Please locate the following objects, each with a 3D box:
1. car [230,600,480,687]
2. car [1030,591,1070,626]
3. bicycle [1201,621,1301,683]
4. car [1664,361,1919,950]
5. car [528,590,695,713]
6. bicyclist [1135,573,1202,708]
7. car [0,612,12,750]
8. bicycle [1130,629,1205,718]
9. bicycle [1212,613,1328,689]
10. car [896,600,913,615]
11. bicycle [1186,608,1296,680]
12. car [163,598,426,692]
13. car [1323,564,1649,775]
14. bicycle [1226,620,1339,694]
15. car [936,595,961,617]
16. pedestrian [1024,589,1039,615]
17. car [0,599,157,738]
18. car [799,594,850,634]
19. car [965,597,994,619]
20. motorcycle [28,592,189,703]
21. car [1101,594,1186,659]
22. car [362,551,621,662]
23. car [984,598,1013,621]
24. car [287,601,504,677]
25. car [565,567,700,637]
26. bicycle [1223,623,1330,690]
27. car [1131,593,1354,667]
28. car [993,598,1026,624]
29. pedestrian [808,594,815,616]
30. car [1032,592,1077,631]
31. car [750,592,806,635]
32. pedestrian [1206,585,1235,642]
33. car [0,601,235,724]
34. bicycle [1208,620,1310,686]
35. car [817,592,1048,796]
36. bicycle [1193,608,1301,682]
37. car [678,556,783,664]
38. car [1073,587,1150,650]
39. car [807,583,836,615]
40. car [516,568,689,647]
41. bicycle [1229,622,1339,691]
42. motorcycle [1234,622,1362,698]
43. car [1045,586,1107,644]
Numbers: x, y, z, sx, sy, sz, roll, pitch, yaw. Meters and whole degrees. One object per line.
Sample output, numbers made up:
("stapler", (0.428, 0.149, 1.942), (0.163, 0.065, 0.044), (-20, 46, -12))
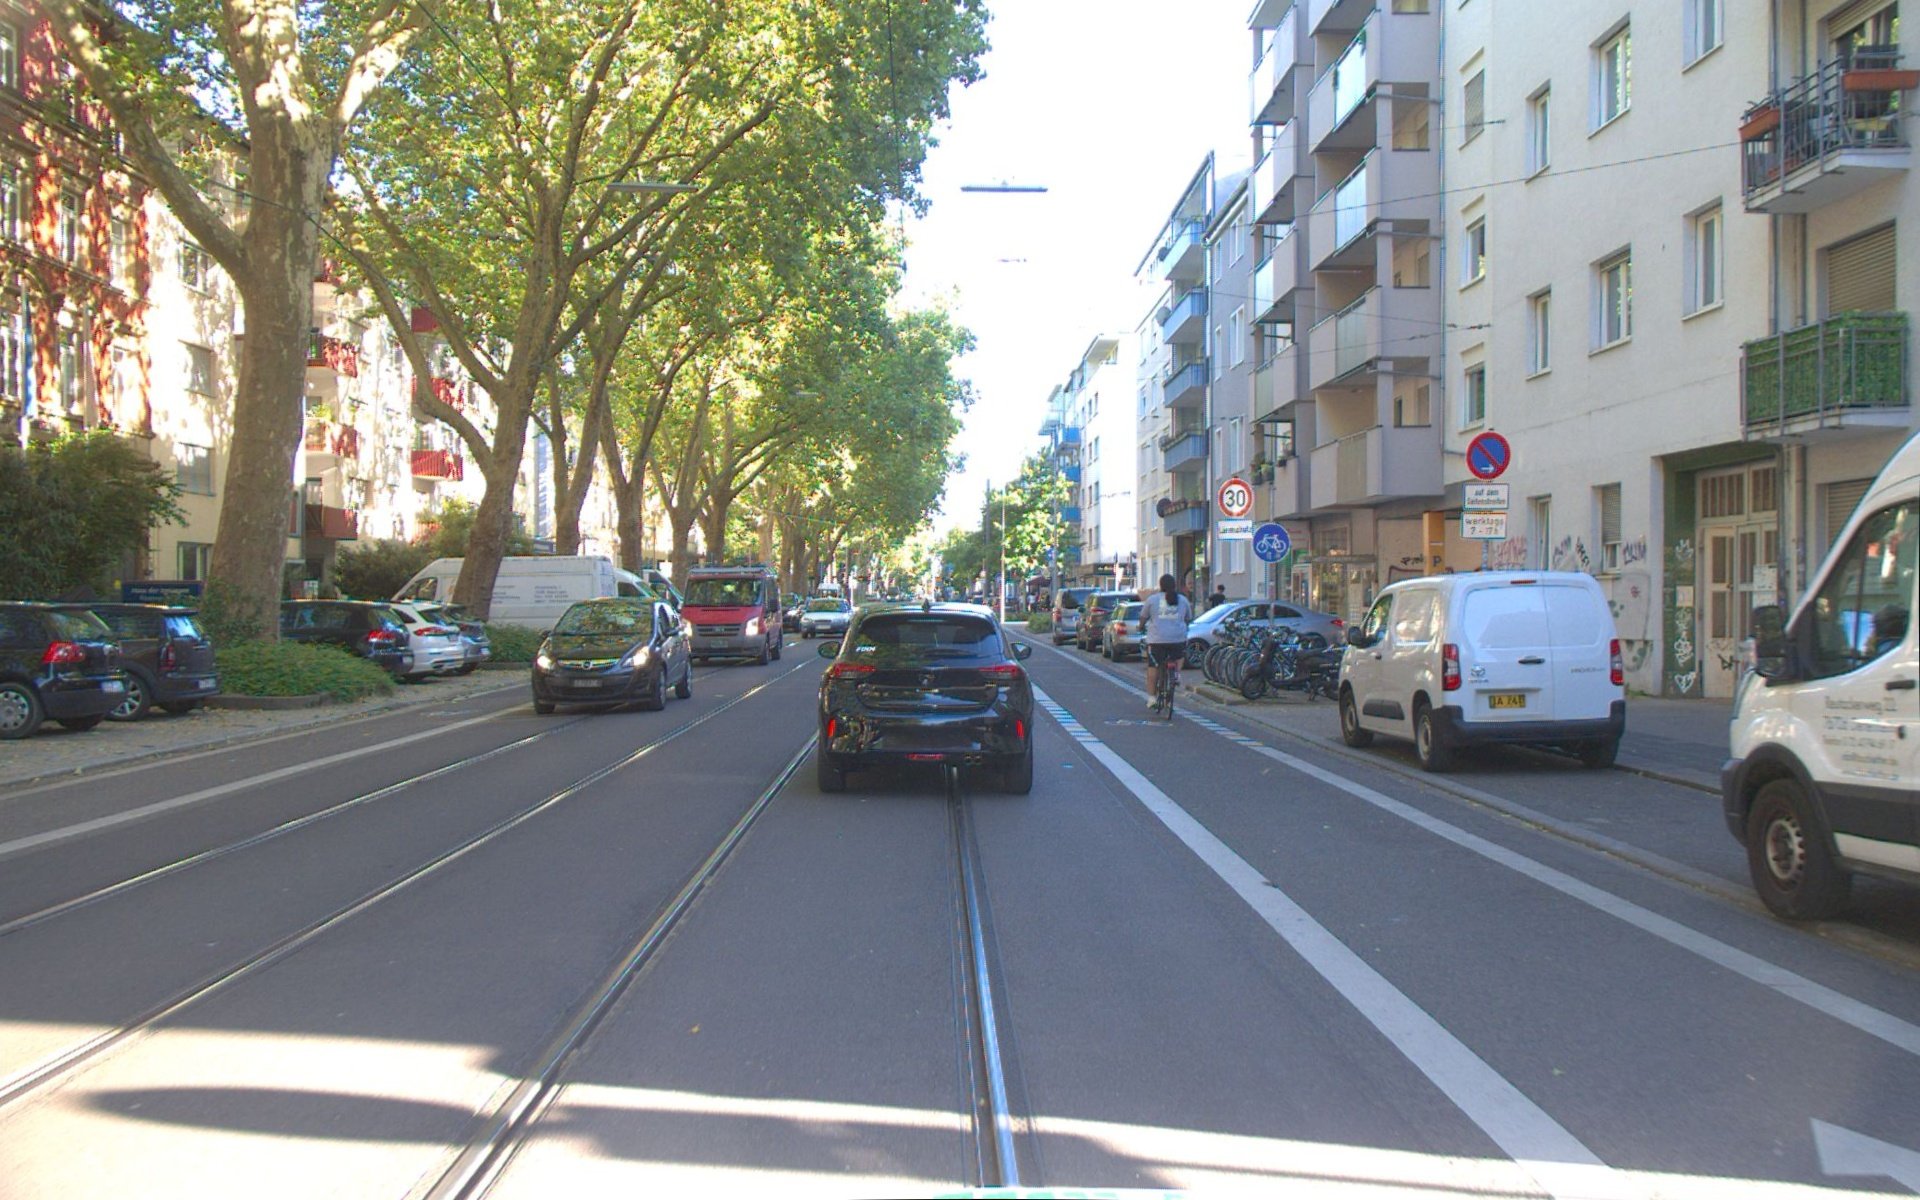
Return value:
("car", (-11.041, 0.775, 30.383), (3.905, 1.522, 1.830), (0, 0, -1))
("car", (4.434, 0.416, 81.815), (1.820, 1.680, 4.000), (0, 0, 1))
("bicycle", (5.050, 0.899, 28.710), (1.619, 0.983, 0.457), (-2, 0, -1))
("car", (5.207, 0.237, 6.578), (2.105, 2.539, 6.086), (0, 0, -1))
("car", (-4.675, 0.647, 22.636), (1.684, 1.536, 3.720), (0, 0, -3))
("bicyclist", (2.802, 0.535, 22.295), (0.770, 1.790, 0.914), (0, 0, -2))
("car", (-11.651, 0.828, 16.109), (3.905, 1.393, 1.605), (0, 0, 0))
("bicycle", (2.765, 0.959, 22.242), (0.687, 1.111, 1.989), (2, -1, -1))
("bicycle", (5.148, 0.838, 27.521), (1.757, 1.168, 0.704), (-2, 0, -1))
("car", (-6.237, 0.819, 187.238), (1.714, 1.680, 4.000), (0, 0, 1))
("bicycle", (5.037, 0.783, 29.669), (1.854, 1.212, 0.457), (-2, 0, -1))
("car", (-11.118, 0.731, 27.803), (3.716, 1.486, 1.704), (1, 0, -1))
("car", (5.127, 0.604, 16.790), (1.821, 1.852, 4.349), (0, 0, -2))
("bicycle", (5.000, 0.878, 25.682), (1.619, 1.073, 0.457), (-2, 0, -1))
("car", (-0.864, 0.443, 127.641), (1.820, 1.680, 4.000), (0, 0, 1))
("pedestrian", (5.006, 0.135, 116.148), (0.753, 1.779, 0.794), (0, 0, 29))
("car", (-11.467, 0.745, 18.692), (3.905, 1.486, 1.770), (0, 0, 1))
("car", (-4.829, 0.482, 59.429), (1.683, 1.382, 4.467), (0, 0, -3))
("car", (1.507, 0.612, 131.081), (1.955, 1.668, 3.996), (0, 0, -5))
("motorcycle", (-13.645, 0.731, 26.652), (1.031, 1.660, 3.011), (2, -1, -1))
("car", (4.576, 0.625, 41.818), (1.689, 1.552, 4.513), (0, 0, 1))
("car", (-11.207, 0.149, 39.890), (5.624, 2.580, 2.162), (0, 0, -1))
("car", (2.591, 0.632, 112.219), (1.684, 1.516, 3.680), (0, 0, -3))
("car", (-11.174, 0.760, 32.907), (3.730, 1.457, 1.704), (0, 0, 1))
("car", (-12.476, 0.064, 63.271), (4.846, 2.612, 2.081), (0, 0, -4))
("bicycle", (5.121, 0.904, 26.805), (1.619, 1.004, 0.457), (-2, 0, -1))
("car", (6.272, 0.652, 36.857), (4.533, 1.462, 1.859), (-2, 0, -12))
("car", (3.191, 0.685, 106.766), (1.684, 1.601, 4.080), (0, 0, -5))
("pedestrian", (-11.031, 0.354, 122.619), (0.497, 1.610, 0.526), (0, 0, -5))
("car", (4.192, 0.480, 73.866), (1.820, 1.680, 4.000), (0, 0, 1))
("car", (-7.891, 0.558, 72.007), (1.953, 1.730, 4.483), (-2, 0, -1))
("pedestrian", (8.010, 0.408, 50.943), (0.741, 1.750, 0.720), (0, 0, -3))
("car", (-11.549, 0.770, 21.022), (3.905, 1.486, 1.704), (0, 0, 1))
("bicycle", (5.093, 0.895, 28.212), (1.619, 1.038, 0.457), (-2, 0, -1))
("car", (-0.241, 0.693, 13.844), (1.646, 1.447, 3.626), (1, 0, -1))
("bicycle", (5.059, 0.789, 29.187), (1.786, 1.212, 0.457), (-2, 0, -1))
("car", (-5.084, 0.210, 37.172), (1.879, 2.266, 4.957), (0, 0, -3))
("car", (4.371, 0.511, 48.363), (1.731, 1.734, 4.281), (0, 0, -2))
("car", (-11.635, -0.088, 139.604), (2.050, 2.629, 5.995), (0, 0, -1))
("car", (-11.687, 0.238, 54.328), (5.251, 2.521, 2.056), (0, 0, -1))
("bicycle", (5.134, 0.892, 26.260), (1.619, 1.004, 0.457), (-2, 0, -1))
("motorcycle", (5.053, 0.900, 24.738), (1.781, 1.099, 0.617), (-1, -1, 23))
("car", (3.949, 0.487, 57.020), (1.820, 1.923, 4.925), (0, 0, 1))
